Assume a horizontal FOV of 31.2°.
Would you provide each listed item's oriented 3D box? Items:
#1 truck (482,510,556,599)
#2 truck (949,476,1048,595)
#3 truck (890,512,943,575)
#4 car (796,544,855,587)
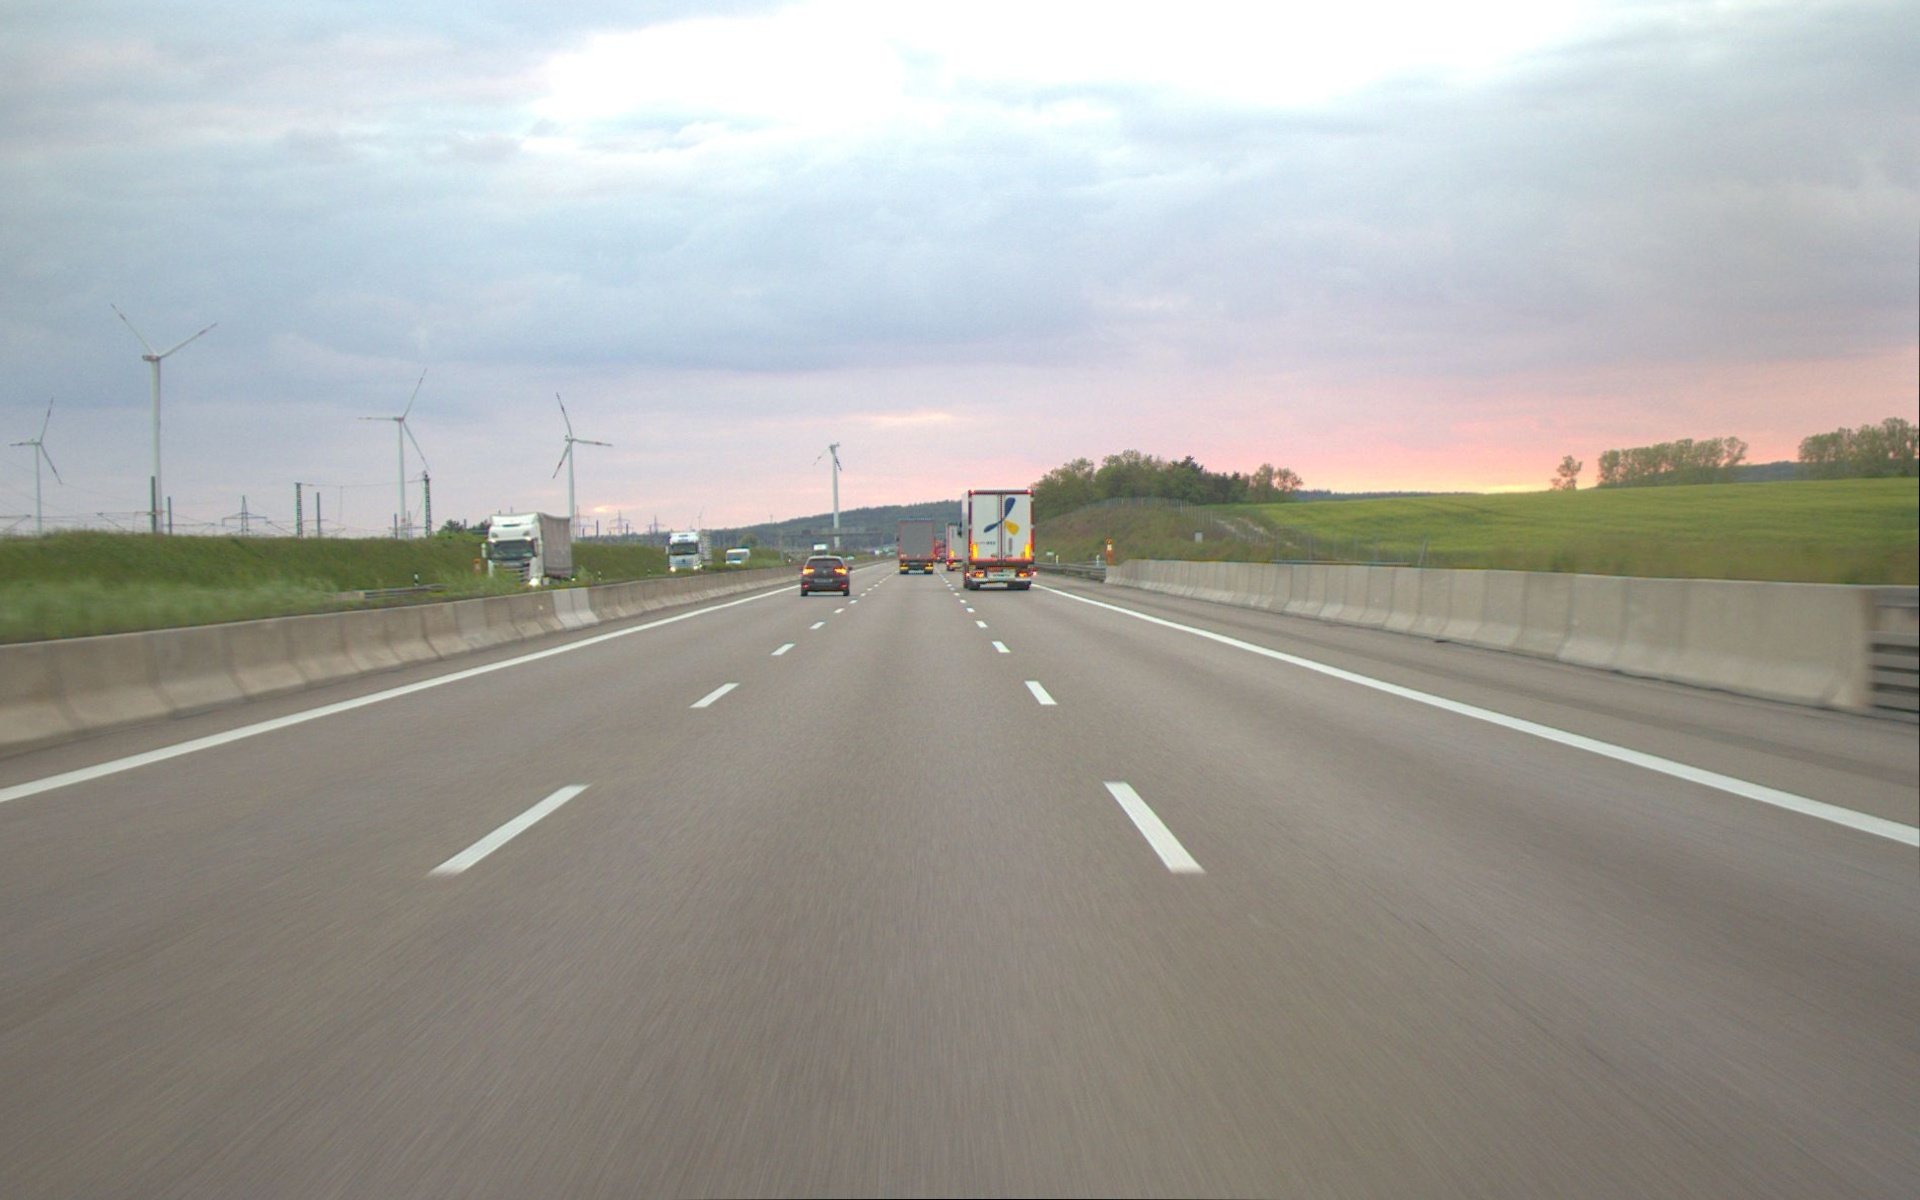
[{"bbox_3d":[-21.953,-2.295,171.419,2.817,4.337,6.739,0,1,0],"label":"truck"},{"bbox_3d":[1.509,-2.638,141.113,3.675,4.549,10.982,-2,1,-1],"label":"truck"},{"bbox_3d":[-3.192,-4.160,252.610,3.647,4.399,8.636,-2,1,-1],"label":"truck"},{"bbox_3d":[-4.851,-1.263,124.336,1.987,1.425,4.000,-2,1,0],"label":"car"}]
